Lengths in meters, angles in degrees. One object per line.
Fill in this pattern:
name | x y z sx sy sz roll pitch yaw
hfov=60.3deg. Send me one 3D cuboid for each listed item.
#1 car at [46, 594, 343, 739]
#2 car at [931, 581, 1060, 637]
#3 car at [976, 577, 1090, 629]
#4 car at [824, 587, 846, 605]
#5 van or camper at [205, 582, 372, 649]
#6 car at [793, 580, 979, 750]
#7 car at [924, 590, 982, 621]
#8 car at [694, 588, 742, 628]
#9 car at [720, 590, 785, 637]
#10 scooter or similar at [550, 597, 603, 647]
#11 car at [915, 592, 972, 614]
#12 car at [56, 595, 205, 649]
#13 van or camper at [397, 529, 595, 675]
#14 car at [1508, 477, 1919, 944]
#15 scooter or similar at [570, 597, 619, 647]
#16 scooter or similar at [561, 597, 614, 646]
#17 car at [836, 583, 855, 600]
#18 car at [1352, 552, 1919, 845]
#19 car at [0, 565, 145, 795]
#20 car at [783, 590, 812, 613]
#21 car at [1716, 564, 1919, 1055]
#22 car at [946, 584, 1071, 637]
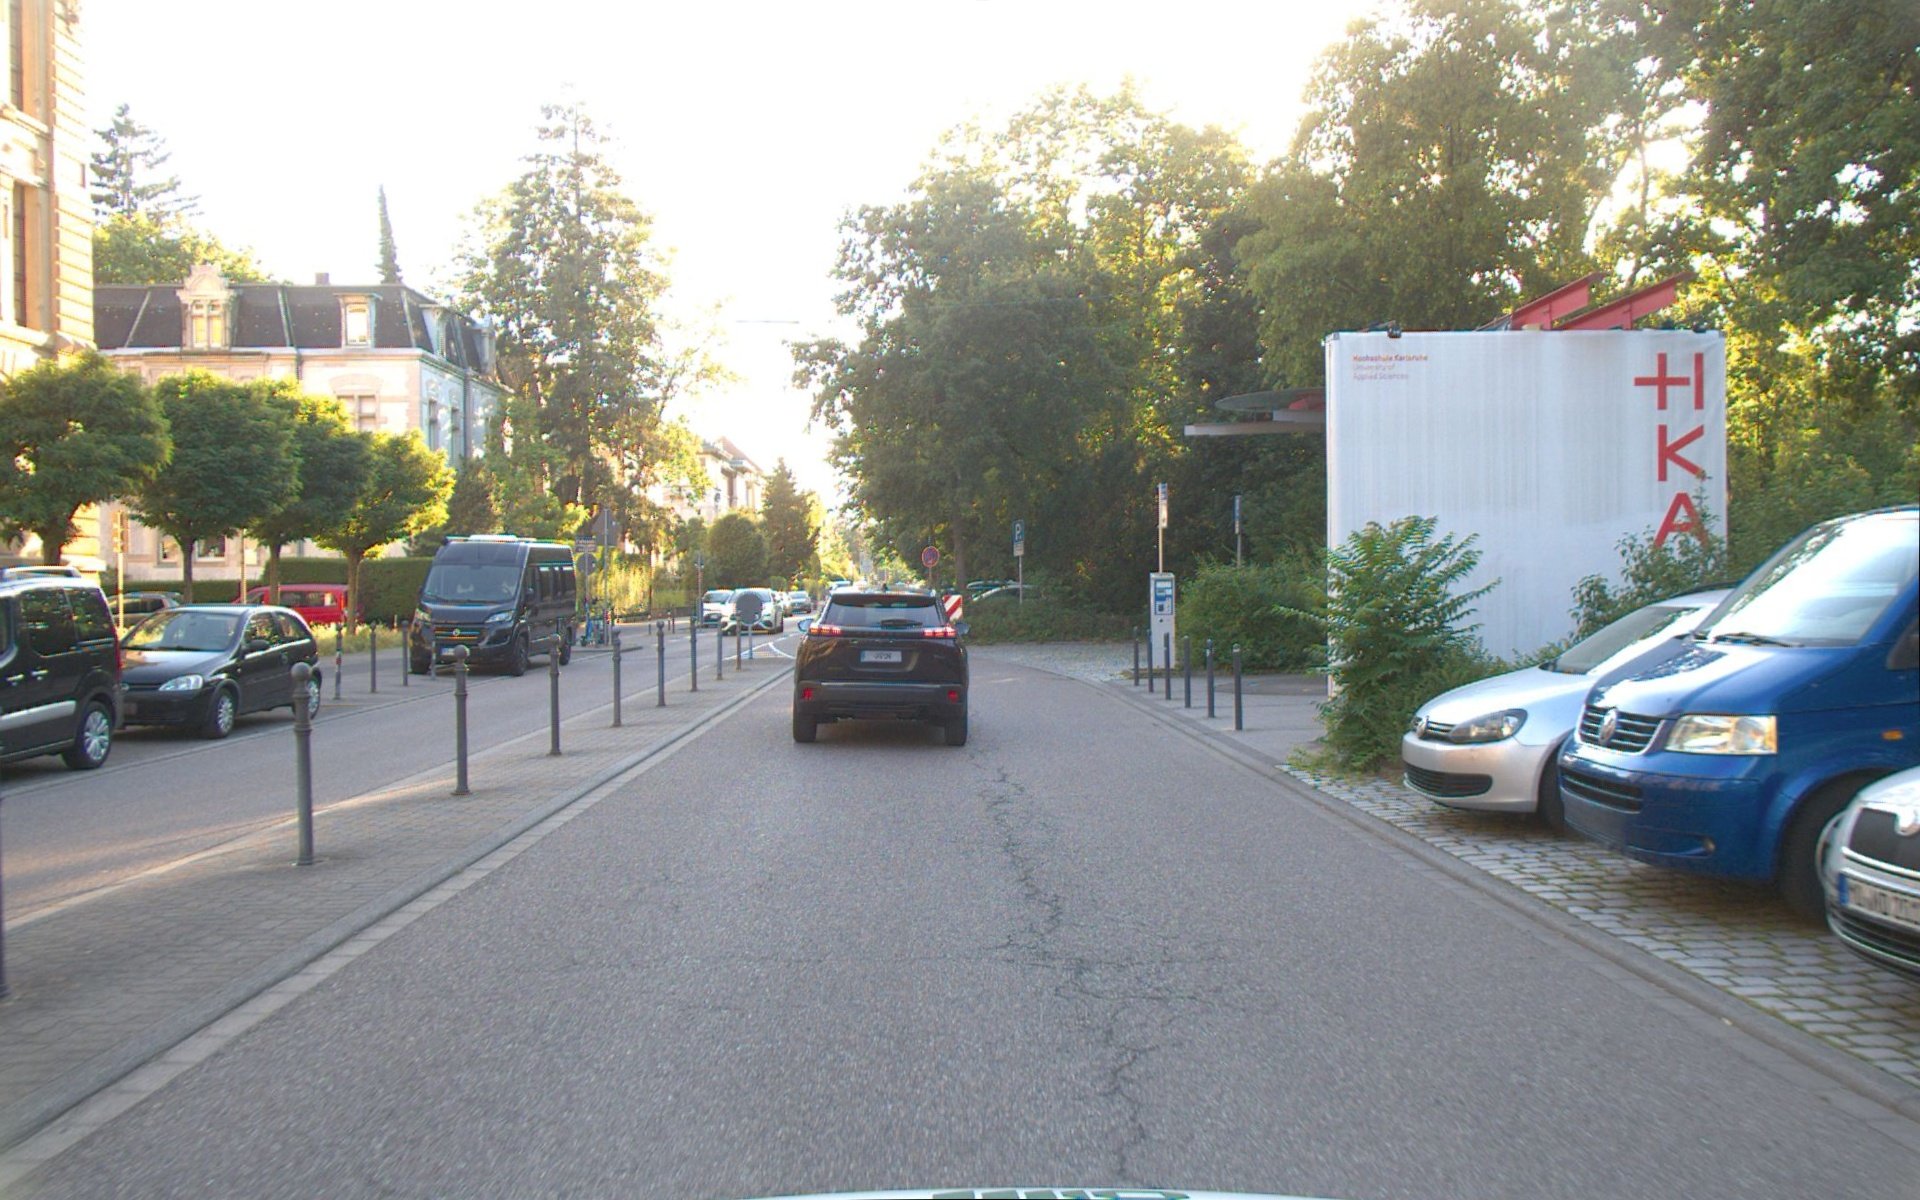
car | -8.870 0.701 19.545 1.661 1.496 3.854 2 0 0
car | 1.069 0.265 51.335 3.906 1.581 1.725 -1 2 -2
car | 2.794 0.104 64.206 4.221 1.836 2.034 -2 0 -3
car | -11.863 -0.383 156.909 1.861 1.601 3.999 0 0 -2
van or camper | -22.340 0.501 55.156 4.670 2.020 2.001 -1 4 0
car | -0.737 0.589 17.619 1.736 1.596 4.108 0 1 -1
car | -0.526 0.398 116.299 3.910 2.126 1.755 0 0 -7
car | -10.000 0.337 68.471 1.582 1.541 3.709 -3 0 -3
car | -6.896 0.424 55.279 1.706 1.483 4.622 -1 0 -2
scooter or similar | -10.151 0.571 43.807 1.330 1.297 0.426 0 0 -37
car | -1.192 0.206 119.003 3.910 1.552 1.755 0 0 -7
car | -27.332 0.695 54.583 3.908 1.703 1.919 0 0 -4
van or camper | -9.130 0.034 33.321 2.185 2.589 7.077 1 0 -2
car | 5.424 0.378 8.136 4.755 1.949 1.915 -3 0 -2
scooter or similar | -9.593 0.568 43.456 0.423 1.297 1.340 -1 0 33
scooter or similar | -10.009 0.567 44.499 1.330 1.297 0.426 0 0 -37
car | -12.397 -0.939 179.152 1.953 1.799 3.998 0 0 -2
car | 5.248 0.535 10.838 4.828 1.581 1.915 -3 0 -2
car | -8.804 0.639 13.940 1.741 1.898 4.331 2 0 -1
car | -10.936 0.083 111.276 1.717 1.438 3.762 -3 1 -3
car | 5.495 0.573 5.754 4.828 1.581 1.915 -3 0 -2
car | 1.543 0.317 53.492 3.906 1.581 1.725 -1 2 -2
